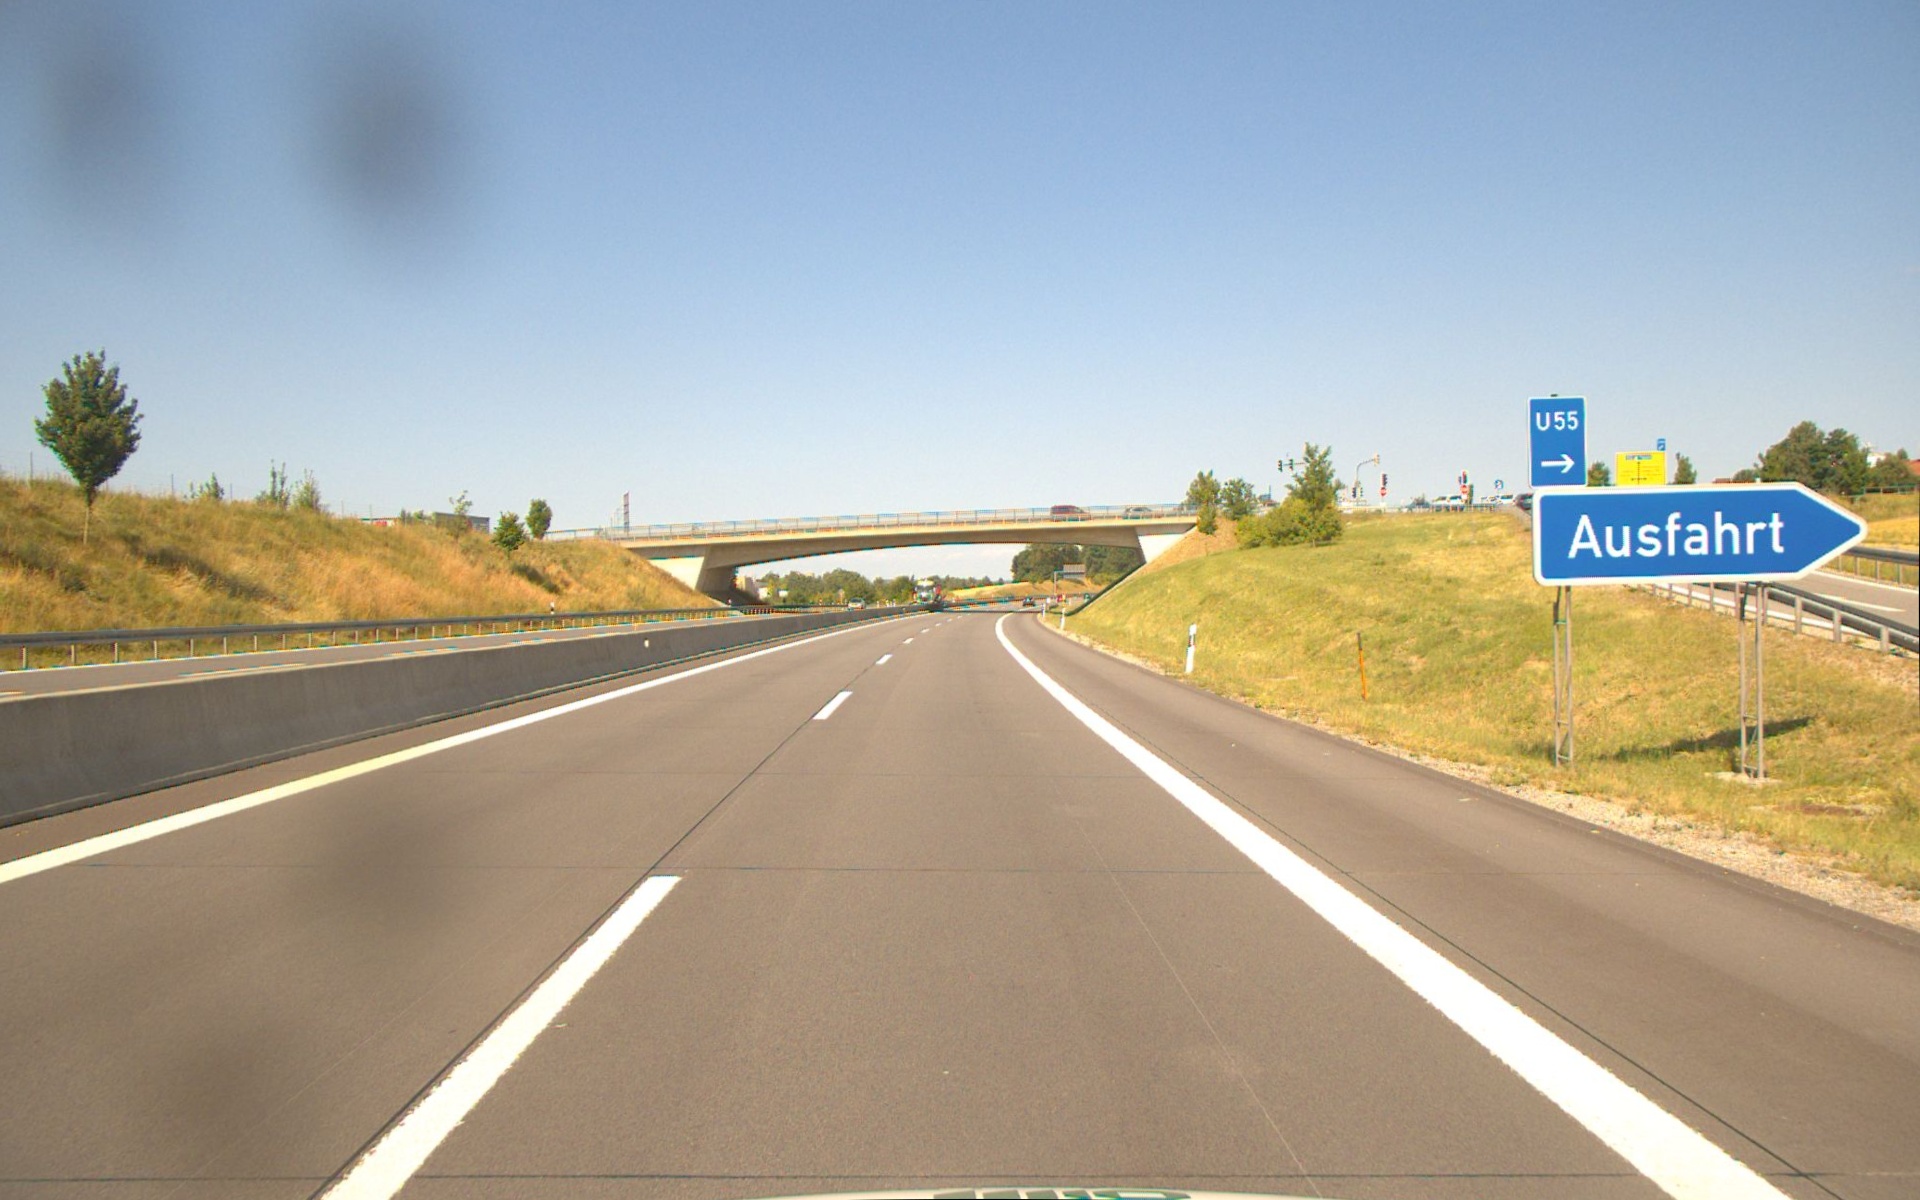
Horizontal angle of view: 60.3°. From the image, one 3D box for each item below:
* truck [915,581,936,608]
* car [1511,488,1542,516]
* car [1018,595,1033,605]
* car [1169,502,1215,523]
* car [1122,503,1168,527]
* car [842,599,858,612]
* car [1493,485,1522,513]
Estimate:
[{"bbox_3d":[-5.015,-0.844,242.260,2.678,3.899,5.833,-1,0,2],"label":"truck"},{"bbox_3d":[45.370,-7.823,132.408,1.951,2.049,4.003,-2,0,14],"label":"car"},{"bbox_3d":[9.777,0.044,248.012,1.953,1.445,4.000,-2,0,0],"label":"car"},{"bbox_3d":[22.779,-8.586,162.376,4.045,1.914,1.997,-2,1,-7],"label":"car"},{"bbox_3d":[18.159,-8.350,162.483,4.167,2.056,1.998,-2,1,-6],"label":"car"},{"bbox_3d":[-13.237,0.636,198.229,1.825,1.557,4.564,-2,0,-5],"label":"car"},{"bbox_3d":[46.456,-8.548,140.371,1.951,2.049,4.003,-1,0,14],"label":"car"}]
